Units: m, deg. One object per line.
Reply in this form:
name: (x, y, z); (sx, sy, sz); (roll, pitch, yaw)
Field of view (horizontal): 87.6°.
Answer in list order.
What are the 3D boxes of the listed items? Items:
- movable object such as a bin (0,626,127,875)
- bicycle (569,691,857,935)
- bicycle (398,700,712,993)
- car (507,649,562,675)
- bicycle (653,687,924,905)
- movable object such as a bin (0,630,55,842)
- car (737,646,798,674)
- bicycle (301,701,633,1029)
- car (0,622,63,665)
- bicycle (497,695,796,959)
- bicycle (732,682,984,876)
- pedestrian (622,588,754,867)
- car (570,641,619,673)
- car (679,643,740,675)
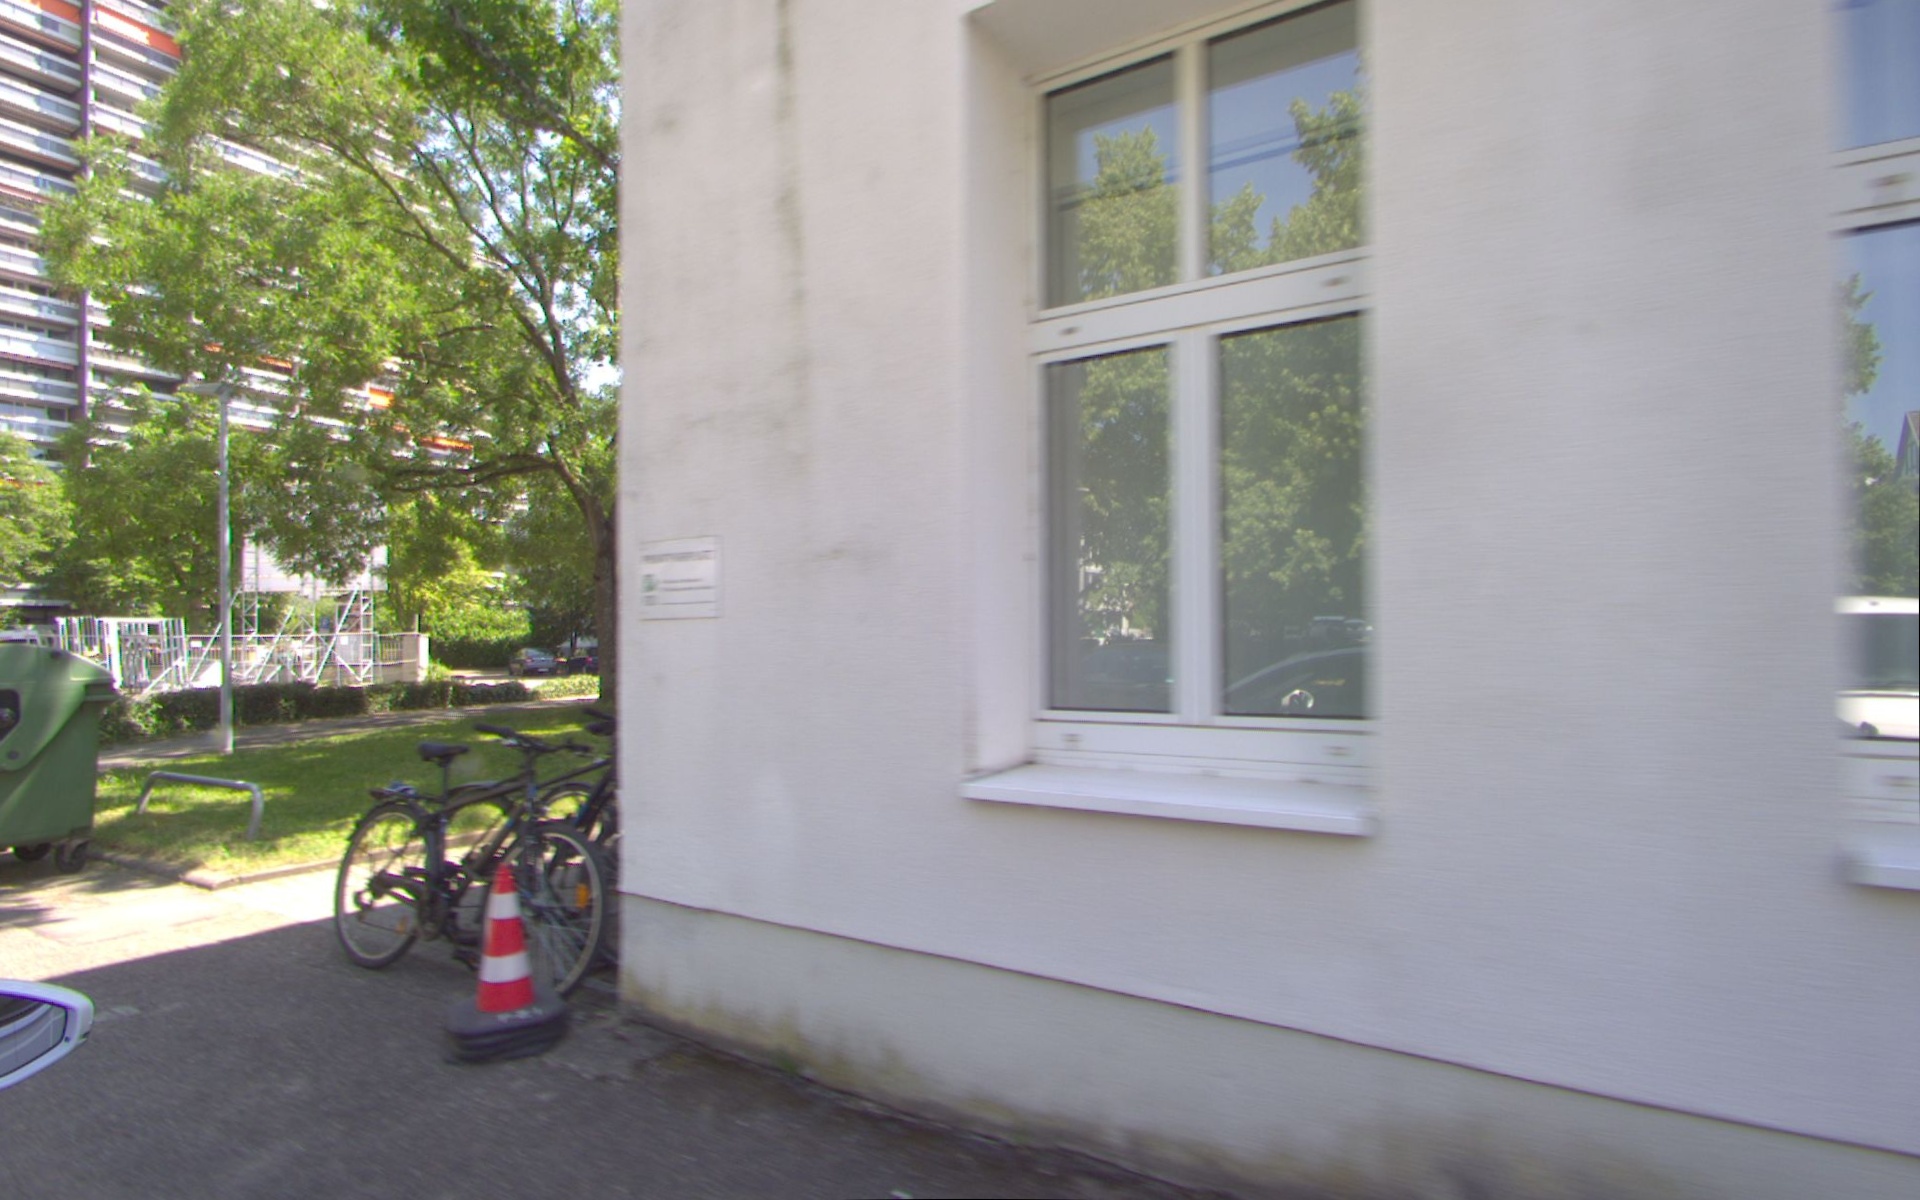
movable object such as a bin: (-6.222, 0.918, 6.378); (1.358, 1.476, 1.073); (-2, -2, 33)
bicycle: (-1.399, 1.082, 5.473); (1.801, 1.115, 0.404); (-2, -2, 33)
bicycle: (-1.951, 1.057, 4.696); (1.801, 1.115, 0.404); (-2, -2, 33)
car: (-22.669, 3.279, 53.292); (1.897, 1.327, 3.905); (1, -3, -36)
bicycle: (-1.070, 1.099, 5.984); (1.801, 1.115, 0.404); (-2, -2, 33)
movable object such as a bin: (-7.405, 0.968, 7.169); (1.358, 1.476, 1.073); (-2, -2, 33)
car: (-10.154, 3.134, 52.622); (1.650, 1.433, 3.683); (1, -3, -38)
bicycle: (-2.157, 1.019, 4.272); (1.801, 1.115, 0.404); (-2, -2, 33)
car: (-51.267, 2.411, 55.217); (2.164, 2.286, 4.837); (1, -3, -36)
bicycle: (-1.651, 1.070, 5.115); (1.801, 1.115, 0.404); (-2, -2, 33)
bicycle: (-0.717, 1.121, 6.636); (1.801, 1.115, 0.404); (-2, -2, 33)
pedestrian: (-1.839, 0.825, 6.772); (0.680, 1.771, 0.549); (-2, -2, 34)
car: (-19.534, 3.017, 53.473); (1.987, 1.650, 3.915); (0, -2, -27)
car: (-13.307, 3.110, 53.138); (1.652, 1.609, 3.660); (1, -3, -42)
